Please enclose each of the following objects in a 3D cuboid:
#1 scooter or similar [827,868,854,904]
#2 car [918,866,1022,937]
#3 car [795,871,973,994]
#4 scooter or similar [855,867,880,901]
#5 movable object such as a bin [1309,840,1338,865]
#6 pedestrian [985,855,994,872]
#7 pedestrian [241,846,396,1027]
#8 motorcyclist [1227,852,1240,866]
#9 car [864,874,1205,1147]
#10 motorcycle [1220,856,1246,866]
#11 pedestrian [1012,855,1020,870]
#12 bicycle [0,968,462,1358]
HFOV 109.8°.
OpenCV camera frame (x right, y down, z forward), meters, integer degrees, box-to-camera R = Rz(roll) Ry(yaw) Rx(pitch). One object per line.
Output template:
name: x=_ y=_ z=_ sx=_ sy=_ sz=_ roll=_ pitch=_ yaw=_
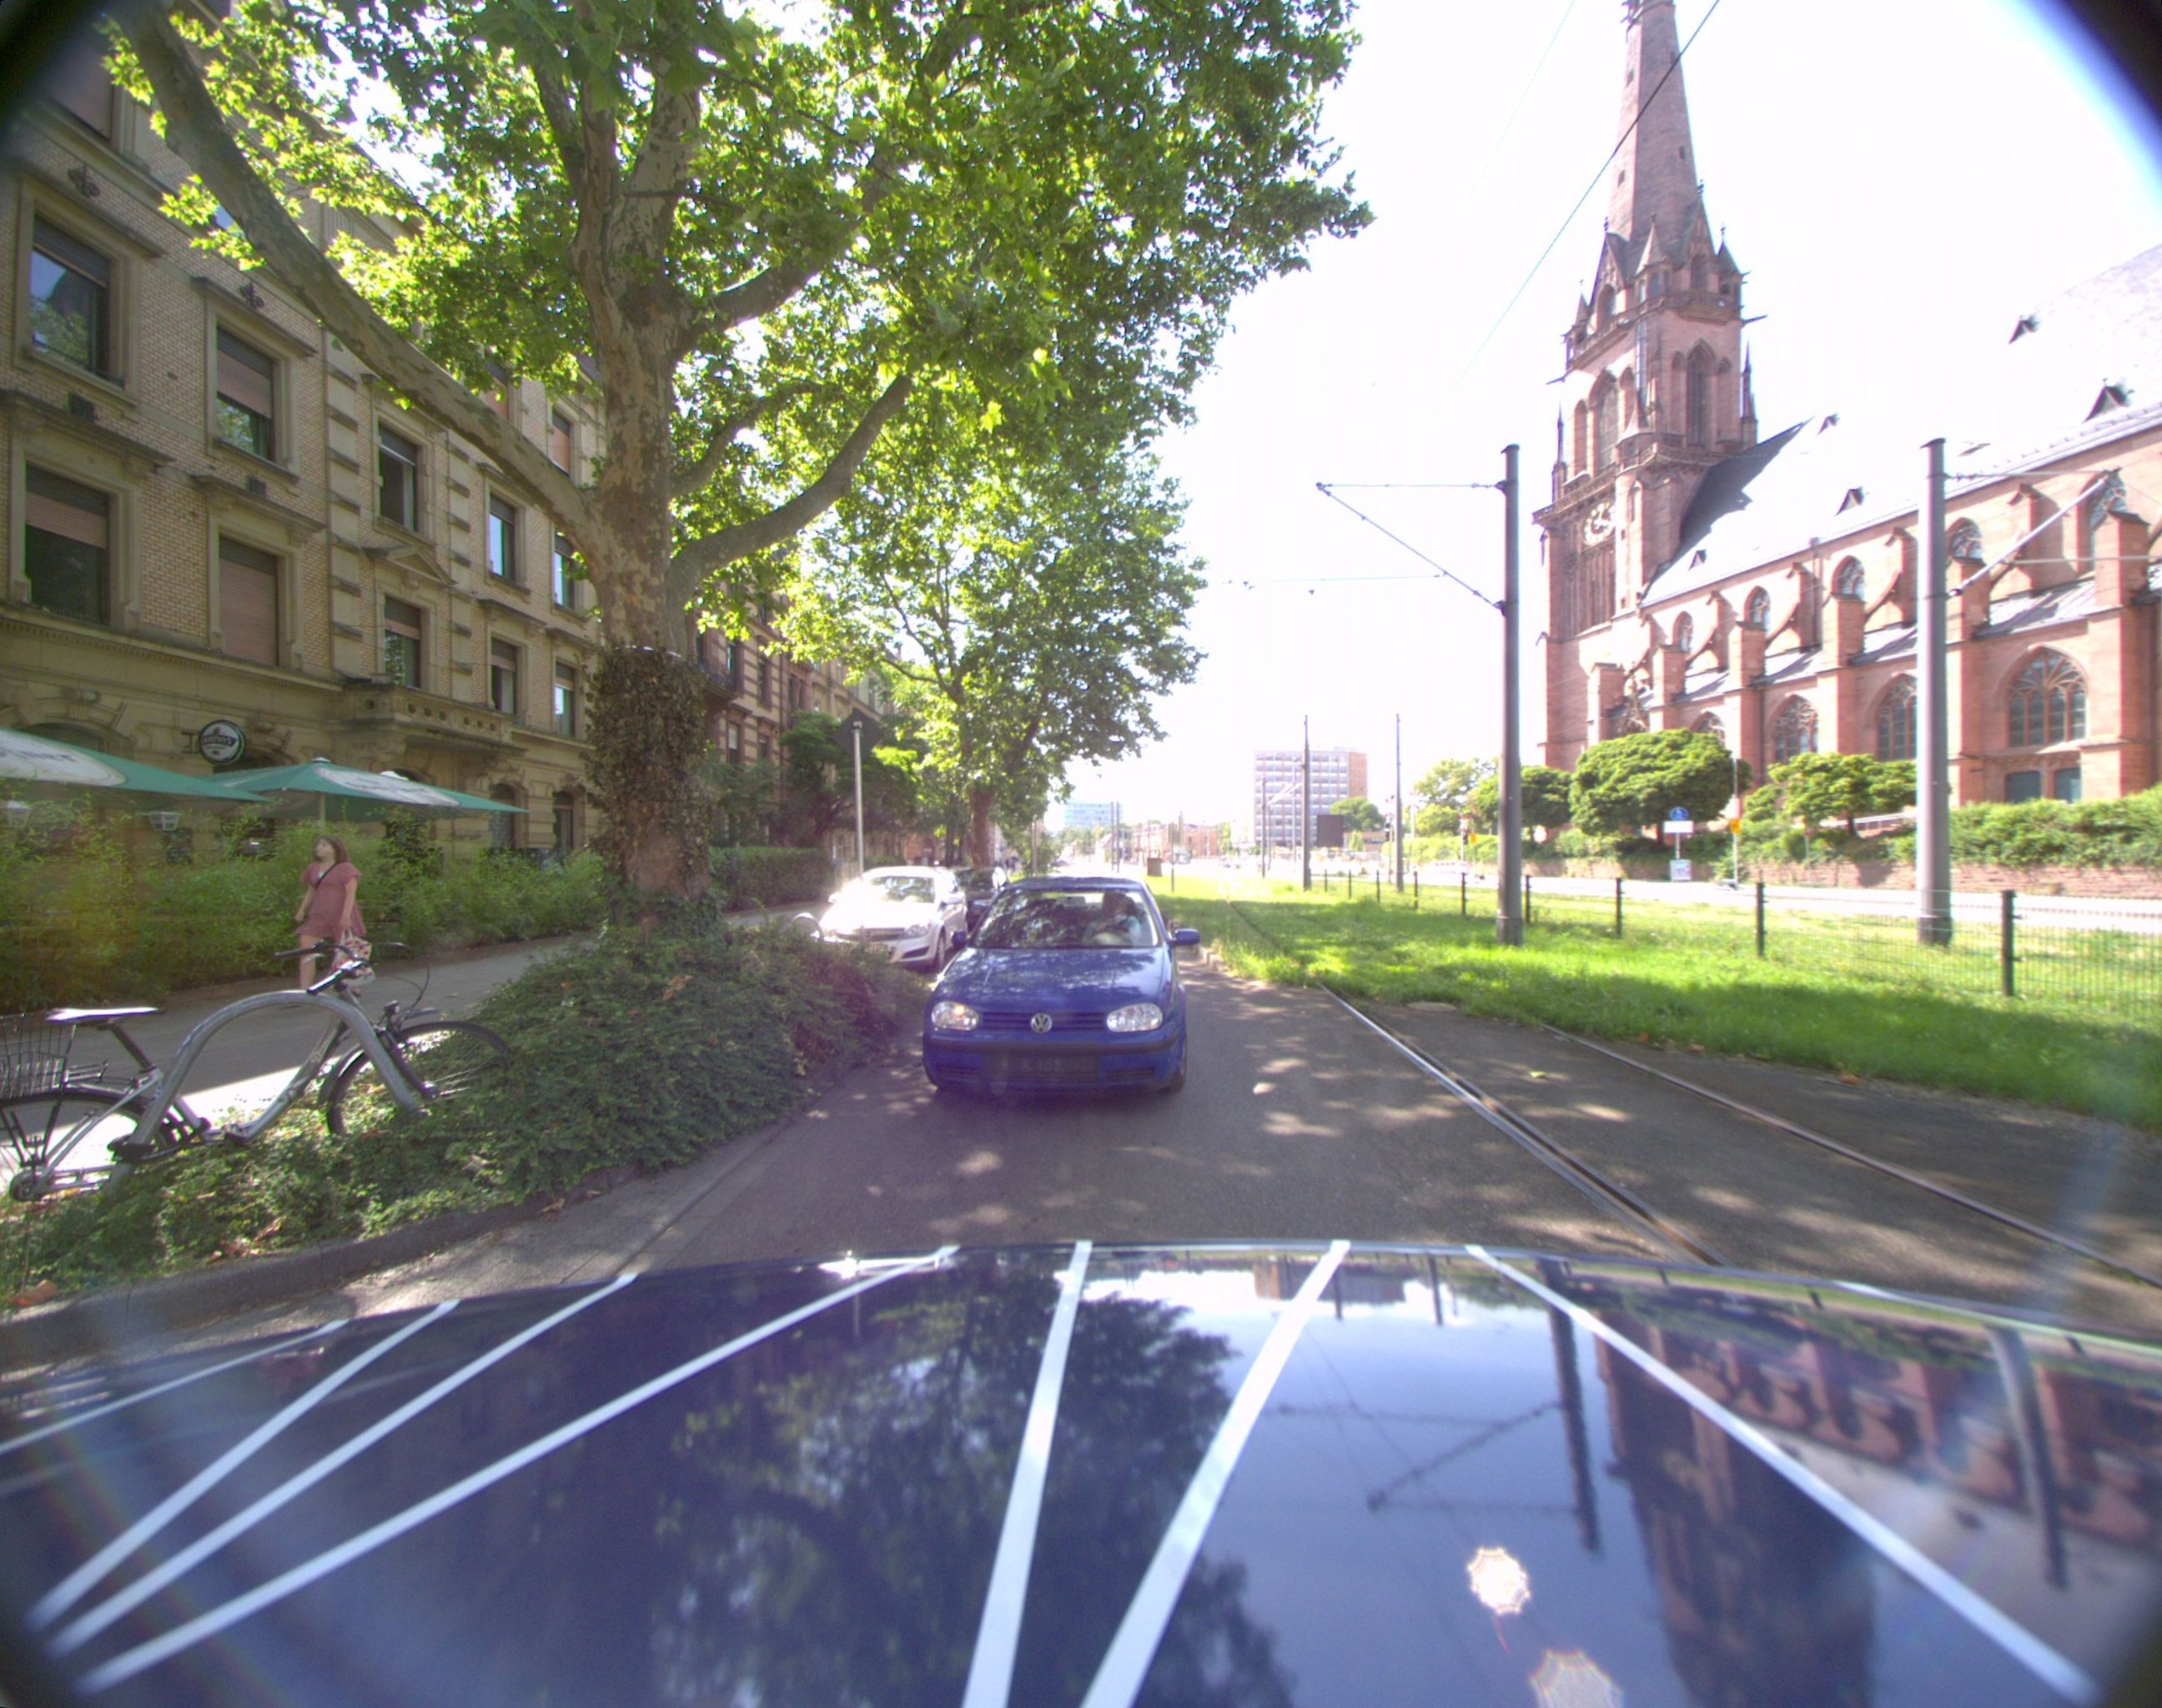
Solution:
scooter or similar: x=-8.489 y=1.125 z=26.863 sx=0.583 sy=1.240 sz=1.145 roll=0 pitch=0 yaw=1
car: x=-2.640 y=1.089 z=19.139 sx=1.838 sy=1.499 sz=4.643 roll=0 pitch=0 yaw=1
car: x=-2.875 y=1.071 z=12.116 sx=1.838 sy=1.499 sz=4.491 roll=0 pitch=0 yaw=-3
scooter or similar: x=-8.292 y=1.143 z=29.584 sx=0.583 sy=1.275 sz=1.145 roll=0 pitch=0 yaw=3
movable object such as a bin: x=37.616 y=-0.208 z=117.876 sx=3.341 sy=3.859 sz=2.932 roll=0 pitch=0 yaw=-33
pedestrian: x=-9.379 y=0.979 z=78.231 sx=0.797 sy=1.708 sz=0.968 roll=-1 pitch=0 yaw=0
pedestrian: x=-7.944 y=0.820 z=7.956 sx=0.738 sy=1.775 sz=0.852 roll=1 pitch=0 yaw=0
motorcyclist: x=20.700 y=0.657 z=103.159 sx=1.335 sy=1.919 sz=1.105 roll=-1 pitch=0 yaw=-27
car: x=-0.169 y=0.941 z=6.301 sx=1.886 sy=1.401 sz=4.094 roll=-1 pitch=0 yaw=3
motorcycle: x=20.637 y=0.883 z=103.230 sx=1.247 sy=1.331 sz=3.929 roll=-1 pitch=0 yaw=-26
pedestrian: x=-7.622 y=0.963 z=89.329 sx=0.797 sy=1.708 sz=0.967 roll=-1 pitch=0 yaw=0
bicycle: x=-3.530 y=1.121 z=3.004 sx=0.421 sy=1.099 sz=1.620 roll=0 pitch=0 yaw=31
